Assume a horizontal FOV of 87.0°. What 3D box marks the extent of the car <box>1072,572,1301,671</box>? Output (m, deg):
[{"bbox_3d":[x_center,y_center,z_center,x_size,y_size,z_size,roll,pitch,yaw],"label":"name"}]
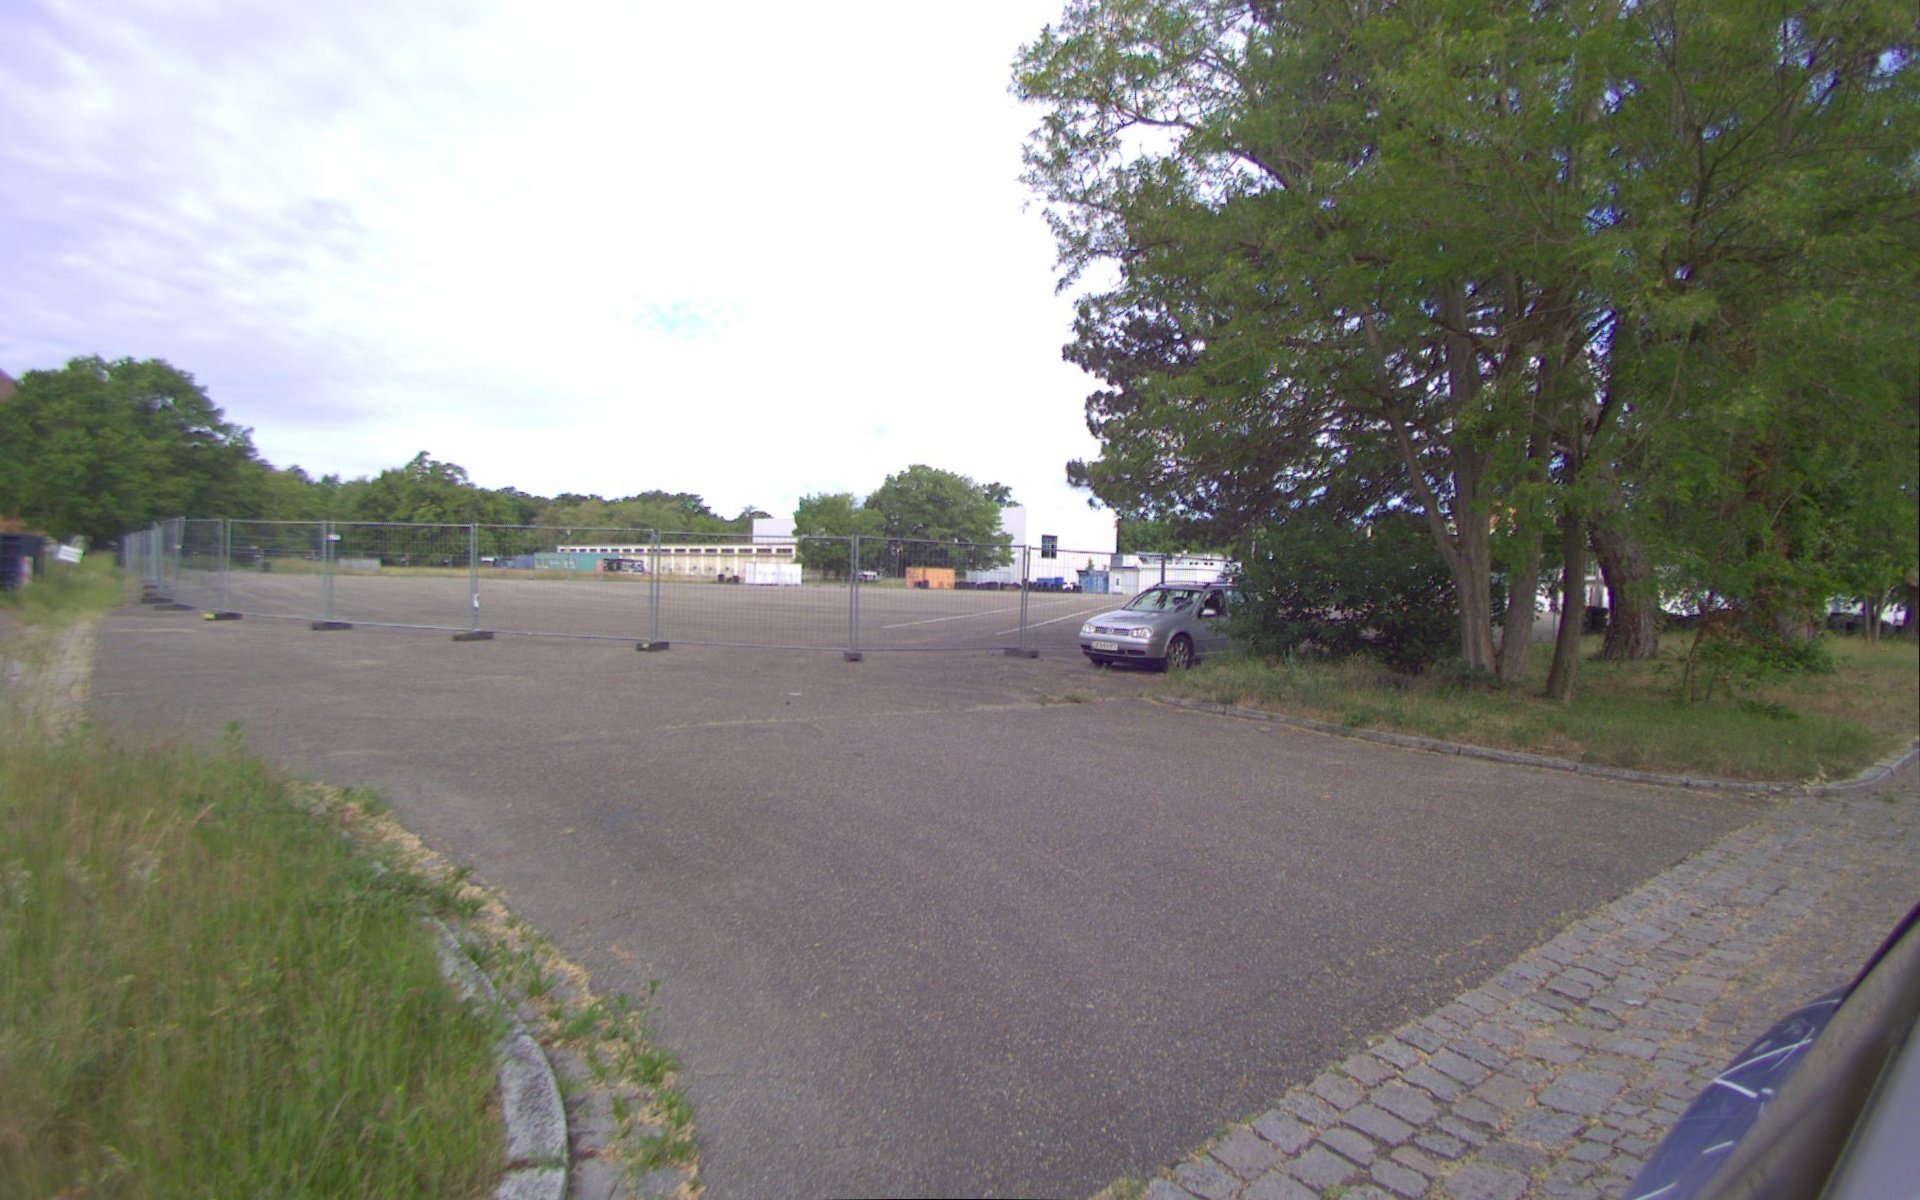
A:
[{"bbox_3d":[4.009,0.318,17.445,4.414,1.469,1.676,0,2,-44],"label":"car"}]
